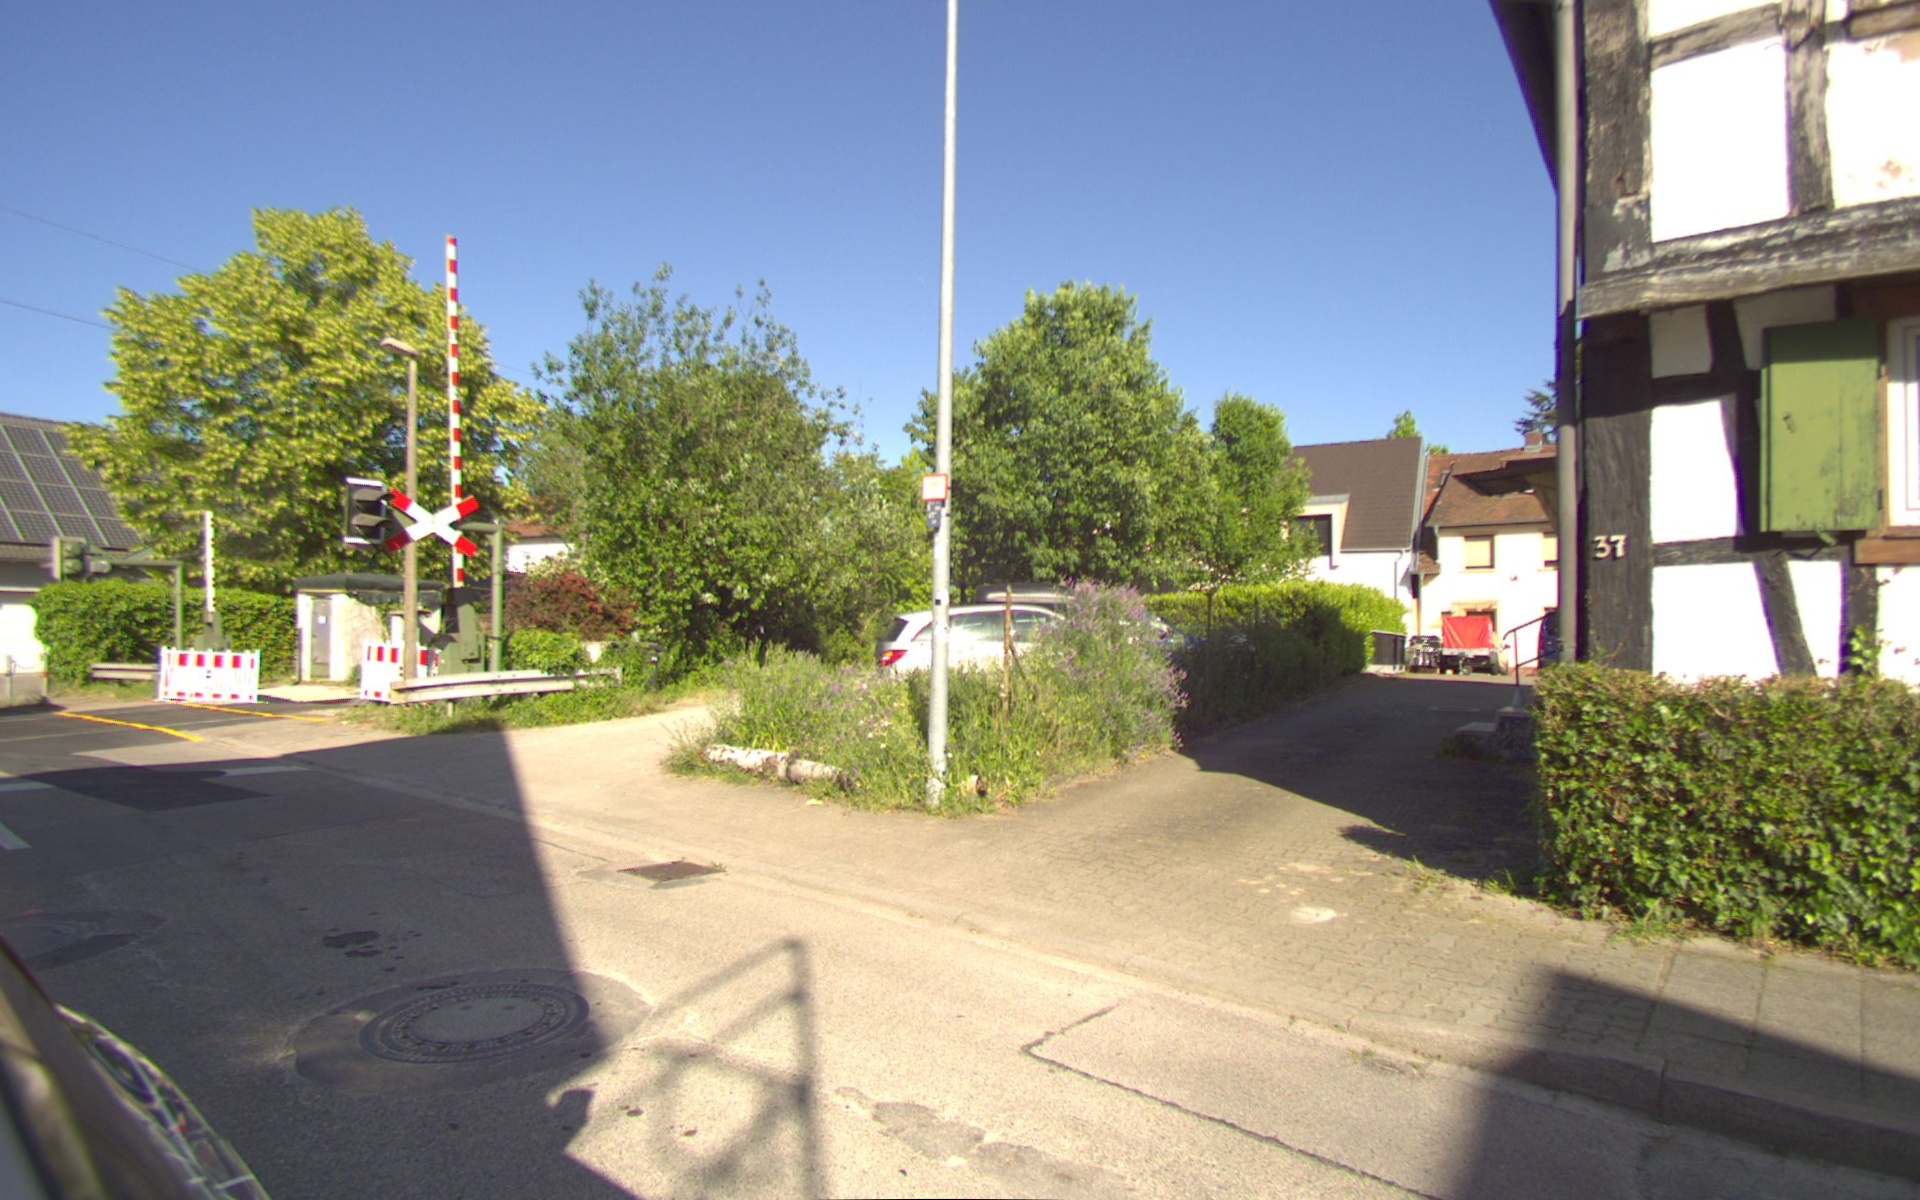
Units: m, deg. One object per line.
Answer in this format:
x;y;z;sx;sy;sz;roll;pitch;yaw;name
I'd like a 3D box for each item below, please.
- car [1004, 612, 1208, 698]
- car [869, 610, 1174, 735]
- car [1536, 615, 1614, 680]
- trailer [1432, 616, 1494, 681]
2.867;1.085;20.356;3.773;1.646;1.654;0;-2;-5;car
0.736;0.930;13.877;3.939;1.576;1.691;0;-1;-5;car
16.898;1.245;27.879;1.704;1.647;3.908;-1;-1;31;car
14.685;1.360;29.453;1.462;1.682;3.566;0;0;29;trailer
